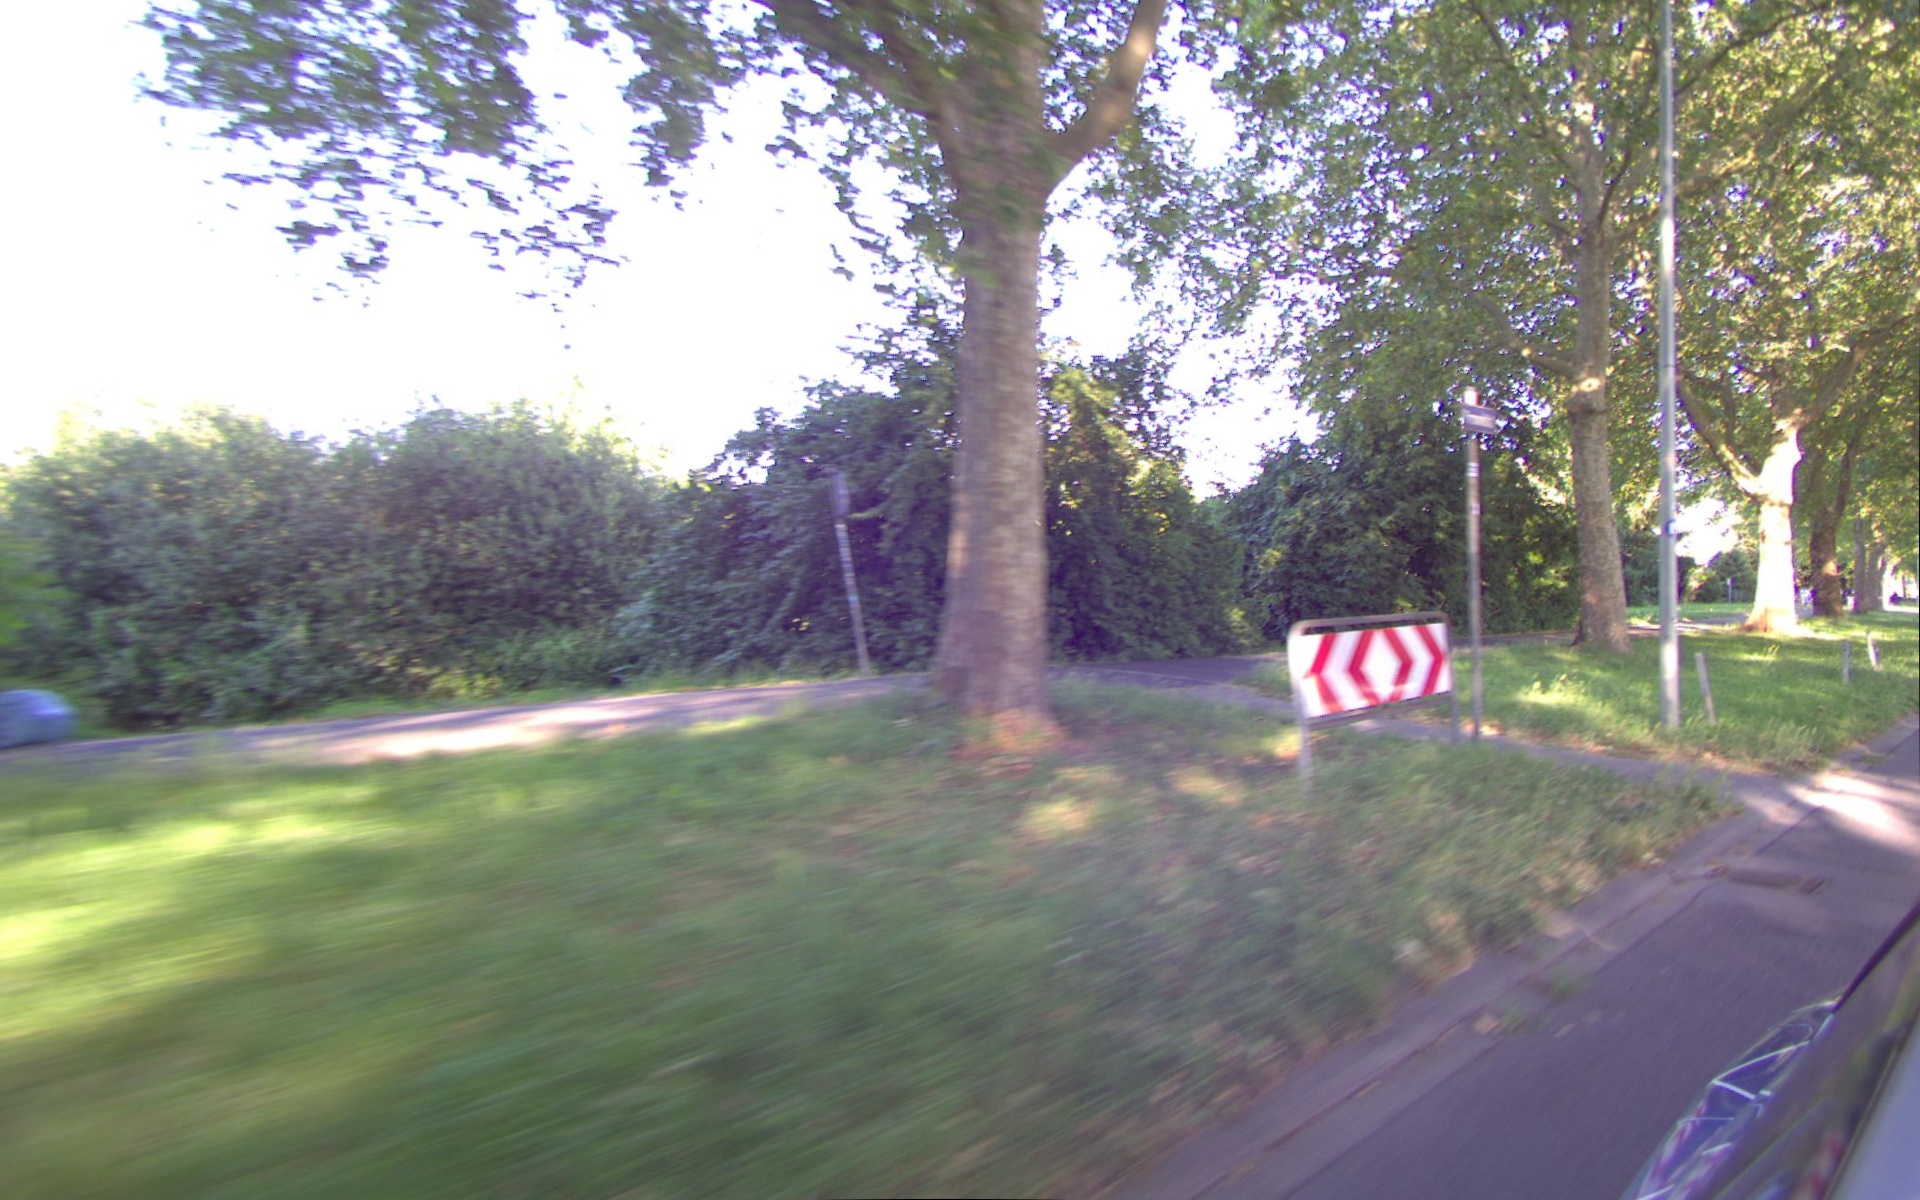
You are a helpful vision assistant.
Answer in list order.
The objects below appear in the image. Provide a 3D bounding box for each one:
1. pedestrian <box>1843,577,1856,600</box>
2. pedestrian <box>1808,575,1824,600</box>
[{"bbox_3d":[75.070,-0.969,85.392,0.789,1.870,0.755,0,1,-43],"label":"pedestrian"},{"bbox_3d":[59.861,-0.869,70.804,0.779,1.670,0.924,2,1,43],"label":"pedestrian"}]
